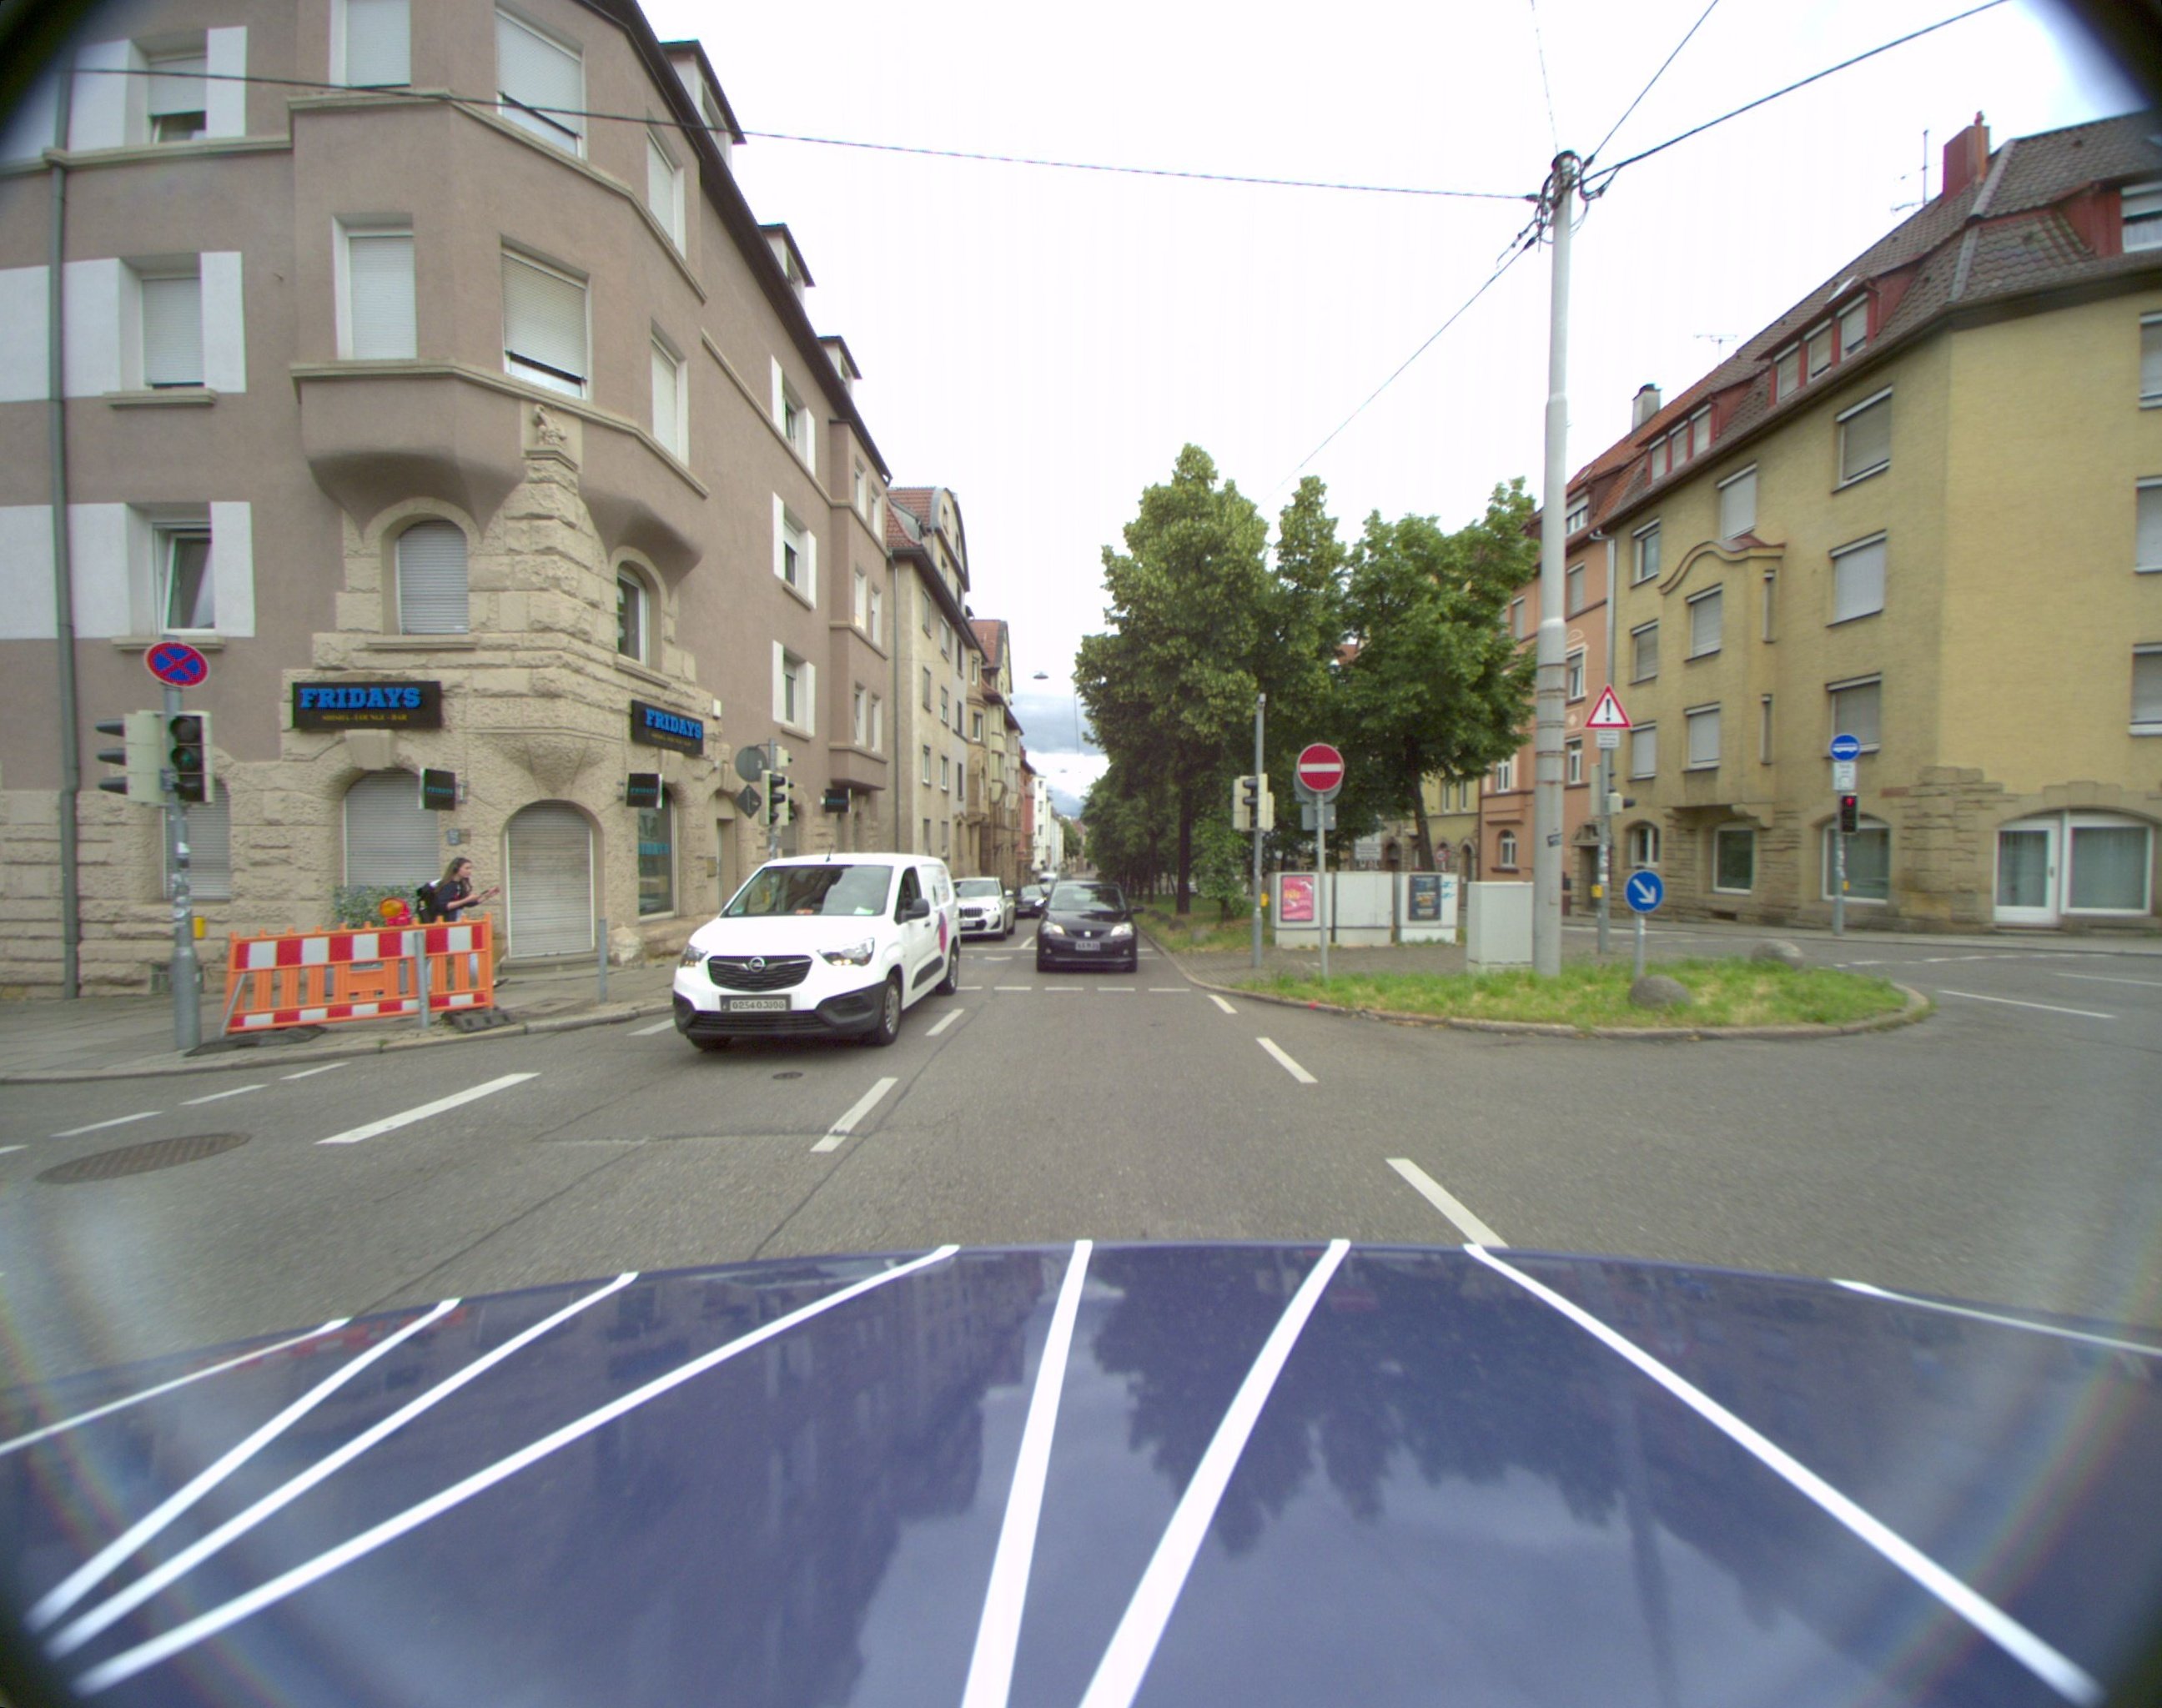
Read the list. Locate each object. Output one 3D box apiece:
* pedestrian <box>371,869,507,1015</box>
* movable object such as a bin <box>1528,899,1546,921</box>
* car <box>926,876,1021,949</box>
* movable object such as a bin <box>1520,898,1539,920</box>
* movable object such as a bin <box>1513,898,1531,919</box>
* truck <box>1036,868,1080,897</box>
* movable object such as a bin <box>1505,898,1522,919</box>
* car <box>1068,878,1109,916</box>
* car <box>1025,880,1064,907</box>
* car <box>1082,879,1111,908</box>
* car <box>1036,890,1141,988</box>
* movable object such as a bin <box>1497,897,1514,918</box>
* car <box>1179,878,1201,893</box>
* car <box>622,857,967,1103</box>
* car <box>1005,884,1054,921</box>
[{"bbox_3d":[-7.692,1.017,9.148,1.005,1.637,0.734,-1,-1,-12],"label":"pedestrian"},{"bbox_3d":[17.946,2.202,29.913,0.487,0.859,0.449,0,-1,6],"label":"movable object such as a bin"},{"bbox_3d":[-2.664,1.458,19.790,1.780,1.597,4.165,-3,-2,0],"label":"car"},{"bbox_3d":[18.052,2.225,30.584,0.487,0.859,0.449,0,-1,6],"label":"movable object such as a bin"},{"bbox_3d":[18.102,2.245,31.194,0.487,0.859,0.449,0,-1,6],"label":"movable object such as a bin"},{"bbox_3d":[-2.300,2.956,78.920,2.550,2.890,7.788,0,-2,13],"label":"truck"},{"bbox_3d":[18.089,2.264,31.765,0.487,0.859,0.449,0,-1,6],"label":"movable object such as a bin"},{"bbox_3d":[0.300,1.999,36.042,1.784,1.583,3.533,2,0,-1],"label":"car"},{"bbox_3d":[-2.062,2.253,44.173,1.841,1.477,4.002,0,-2,3],"label":"car"},{"bbox_3d":[0.928,2.396,46.817,1.696,1.583,3.534,2,0,0],"label":"car"},{"bbox_3d":[0.127,1.391,13.489,1.604,1.448,3.685,0,-2,0],"label":"car"},{"bbox_3d":[18.120,2.286,32.431,0.487,0.859,0.449,0,-1,6],"label":"movable object such as a bin"},{"bbox_3d":[12.806,3.685,89.660,1.942,1.624,4.520,-1,-2,0],"label":"car"},{"bbox_3d":[-2.521,1.019,8.133,1.788,1.778,4.845,-2,-2,0],"label":"car"},{"bbox_3d":[-2.184,2.070,33.253,1.780,1.433,4.165,-3,-2,0],"label":"car"}]
